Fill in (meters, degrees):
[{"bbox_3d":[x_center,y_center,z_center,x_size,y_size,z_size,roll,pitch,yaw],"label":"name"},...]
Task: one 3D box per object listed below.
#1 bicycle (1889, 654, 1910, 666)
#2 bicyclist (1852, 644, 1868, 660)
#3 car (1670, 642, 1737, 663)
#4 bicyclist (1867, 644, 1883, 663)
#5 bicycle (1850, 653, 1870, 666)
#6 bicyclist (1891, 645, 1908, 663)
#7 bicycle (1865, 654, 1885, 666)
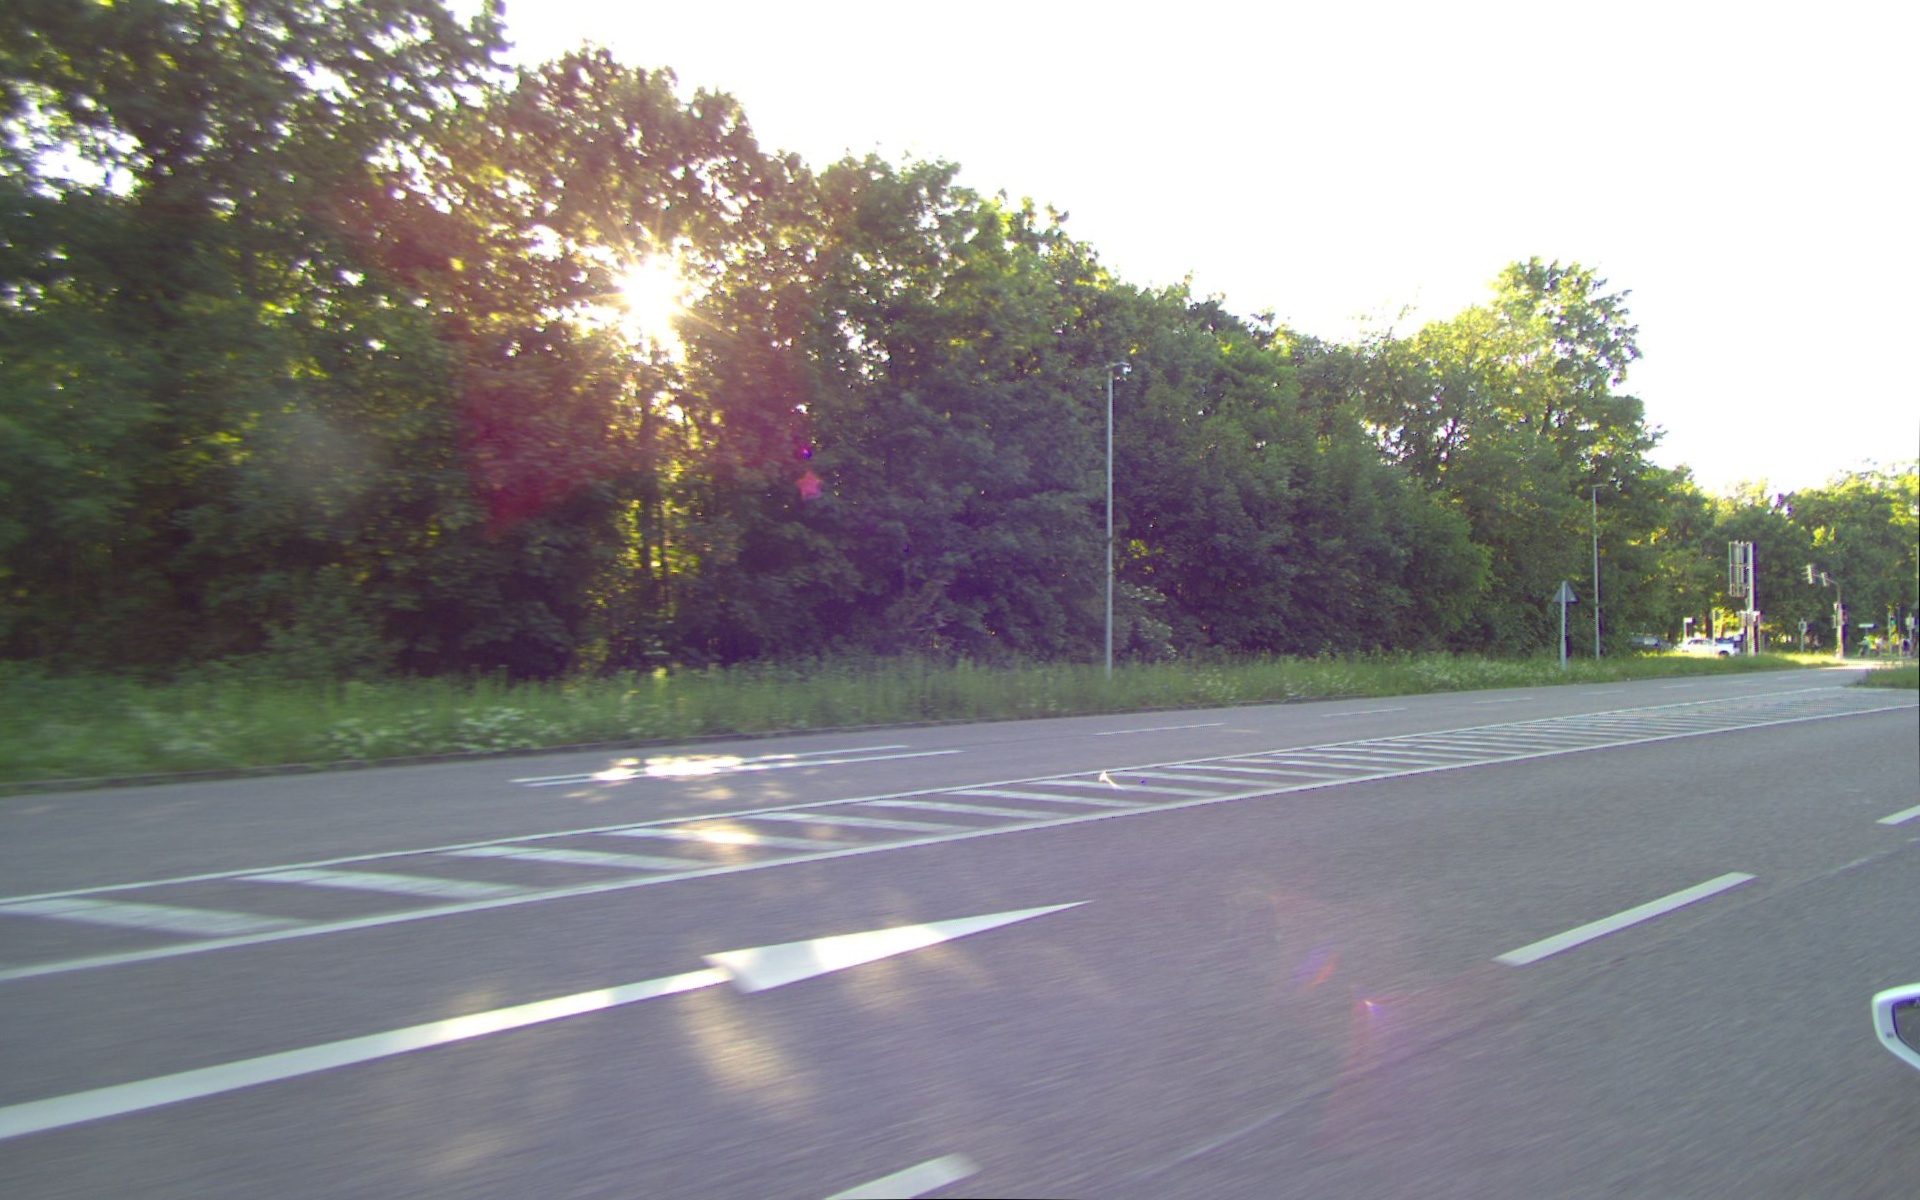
[{"bbox_3d":[72.383,4.611,77.398,1.890,0.926,0.711,2,-2,-32],"label":"bicycle"},{"bbox_3d":[70.566,4.062,78.750,0.979,1.208,0.711,2,-2,-32],"label":"bicyclist"},{"bbox_3d":[54.444,3.840,73.666,3.731,1.407,1.925,0,-2,30],"label":"car"},{"bbox_3d":[70.982,4.160,77.940,0.979,1.408,0.707,2,-2,-32],"label":"bicyclist"},{"bbox_3d":[70.560,4.662,78.733,1.890,0.926,0.711,1,-2,-32],"label":"bicycle"},{"bbox_3d":[72.386,4.171,77.405,0.979,1.373,0.711,2,-2,-32],"label":"bicyclist"},{"bbox_3d":[71.007,4.649,77.942,1.890,0.926,0.711,2,-2,-32],"label":"bicycle"}]
